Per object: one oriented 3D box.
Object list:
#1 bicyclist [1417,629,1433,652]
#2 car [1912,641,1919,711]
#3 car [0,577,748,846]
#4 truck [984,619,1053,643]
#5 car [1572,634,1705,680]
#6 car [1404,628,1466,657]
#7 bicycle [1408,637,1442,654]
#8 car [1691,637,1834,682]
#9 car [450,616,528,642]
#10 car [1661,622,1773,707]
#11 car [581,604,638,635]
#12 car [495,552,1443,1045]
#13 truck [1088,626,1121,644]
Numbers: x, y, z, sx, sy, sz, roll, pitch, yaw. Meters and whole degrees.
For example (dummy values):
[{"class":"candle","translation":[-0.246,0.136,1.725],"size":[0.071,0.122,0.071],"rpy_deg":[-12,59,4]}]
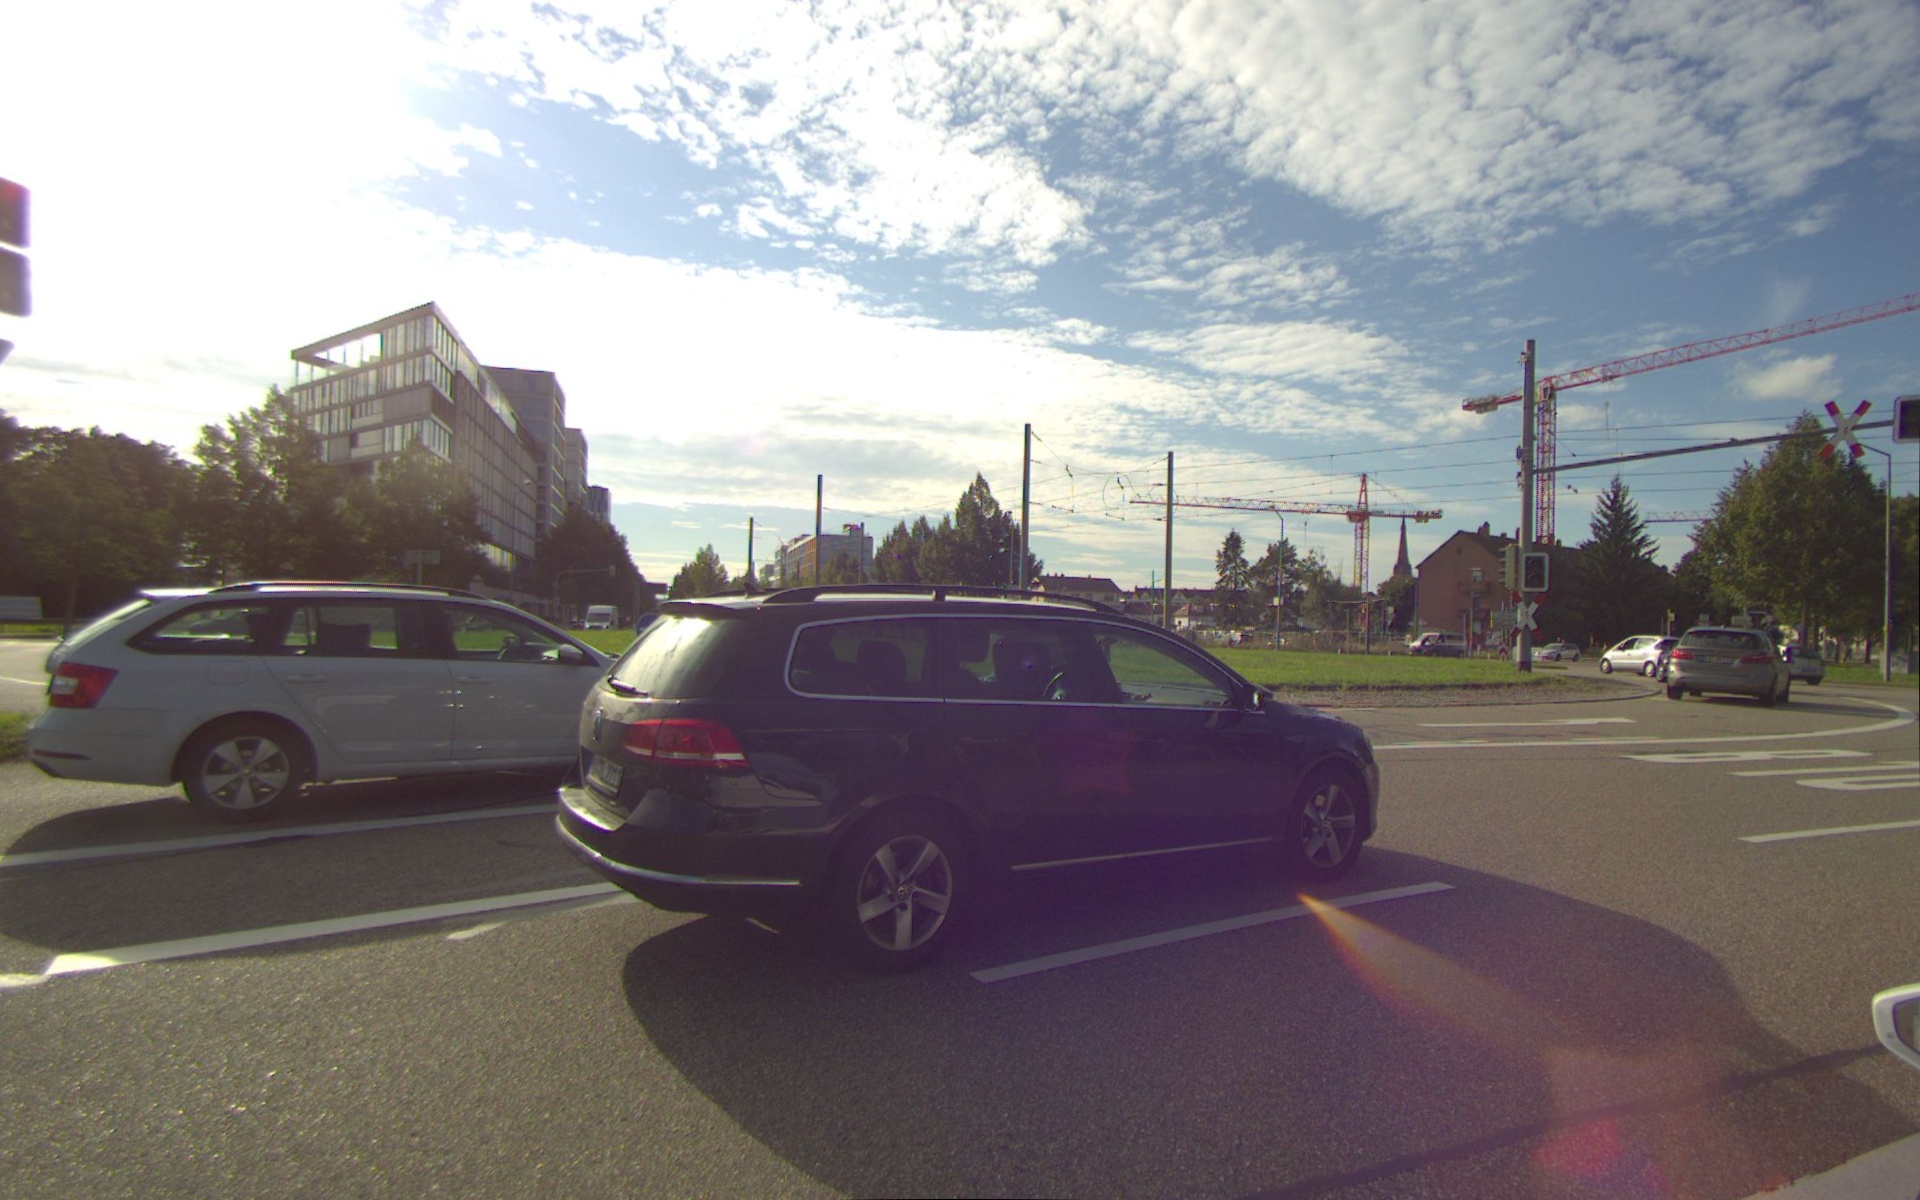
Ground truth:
[{"class":"bicyclist","translation":[32.327,2.818,69.842],"size":[0.943,1.595,0.771],"rpy_deg":[0,-2,31]},{"class":"car","translation":[20.671,1.602,20.271],"size":[1.829,1.464,4.692],"rpy_deg":[2,-1,40]},{"class":"car","translation":[-4.096,0.631,7.446],"size":[4.594,1.464,1.837],"rpy_deg":[1,0,-37]},{"class":"truck","translation":[7.155,3.818,123.100],"size":[7.737,2.601,3.062],"rpy_deg":[2,-2,-18]},{"class":"car","translation":[26.316,2.173,39.144],"size":[1.822,1.497,4.451],"rpy_deg":[3,-1,-6]},{"class":"car","translation":[35.298,3.148,74.651],"size":[4.609,1.928,1.886],"rpy_deg":[3,-1,-31]},{"class":"bicycle","translation":[32.329,3.168,69.829],"size":[2.112,1.152,0.771],"rpy_deg":[0,-2,31]},{"class":"car","translation":[31.070,2.271,39.093],"size":[1.821,1.445,4.453],"rpy_deg":[3,-1,-3]},{"class":"car","translation":[-27.830,1.715,59.464],"size":[1.655,1.521,3.989],"rpy_deg":[-1,-2,28]},{"class":"car","translation":[16.337,1.350,21.708],"size":[1.745,1.593,4.052],"rpy_deg":[2,-1,37]},{"class":"car","translation":[-27.432,1.573,78.813],"size":[2.024,2.293,6.027],"rpy_deg":[-1,-2,4]},{"class":"car","translation":[0.278,0.660,5.388],"size":[4.793,1.587,1.981],"rpy_deg":[1,1,-34]},{"class":"truck","translation":[20.323,4.872,141.600],"size":[2.033,2.358,5.611],"rpy_deg":[2,-2,-21]}]
